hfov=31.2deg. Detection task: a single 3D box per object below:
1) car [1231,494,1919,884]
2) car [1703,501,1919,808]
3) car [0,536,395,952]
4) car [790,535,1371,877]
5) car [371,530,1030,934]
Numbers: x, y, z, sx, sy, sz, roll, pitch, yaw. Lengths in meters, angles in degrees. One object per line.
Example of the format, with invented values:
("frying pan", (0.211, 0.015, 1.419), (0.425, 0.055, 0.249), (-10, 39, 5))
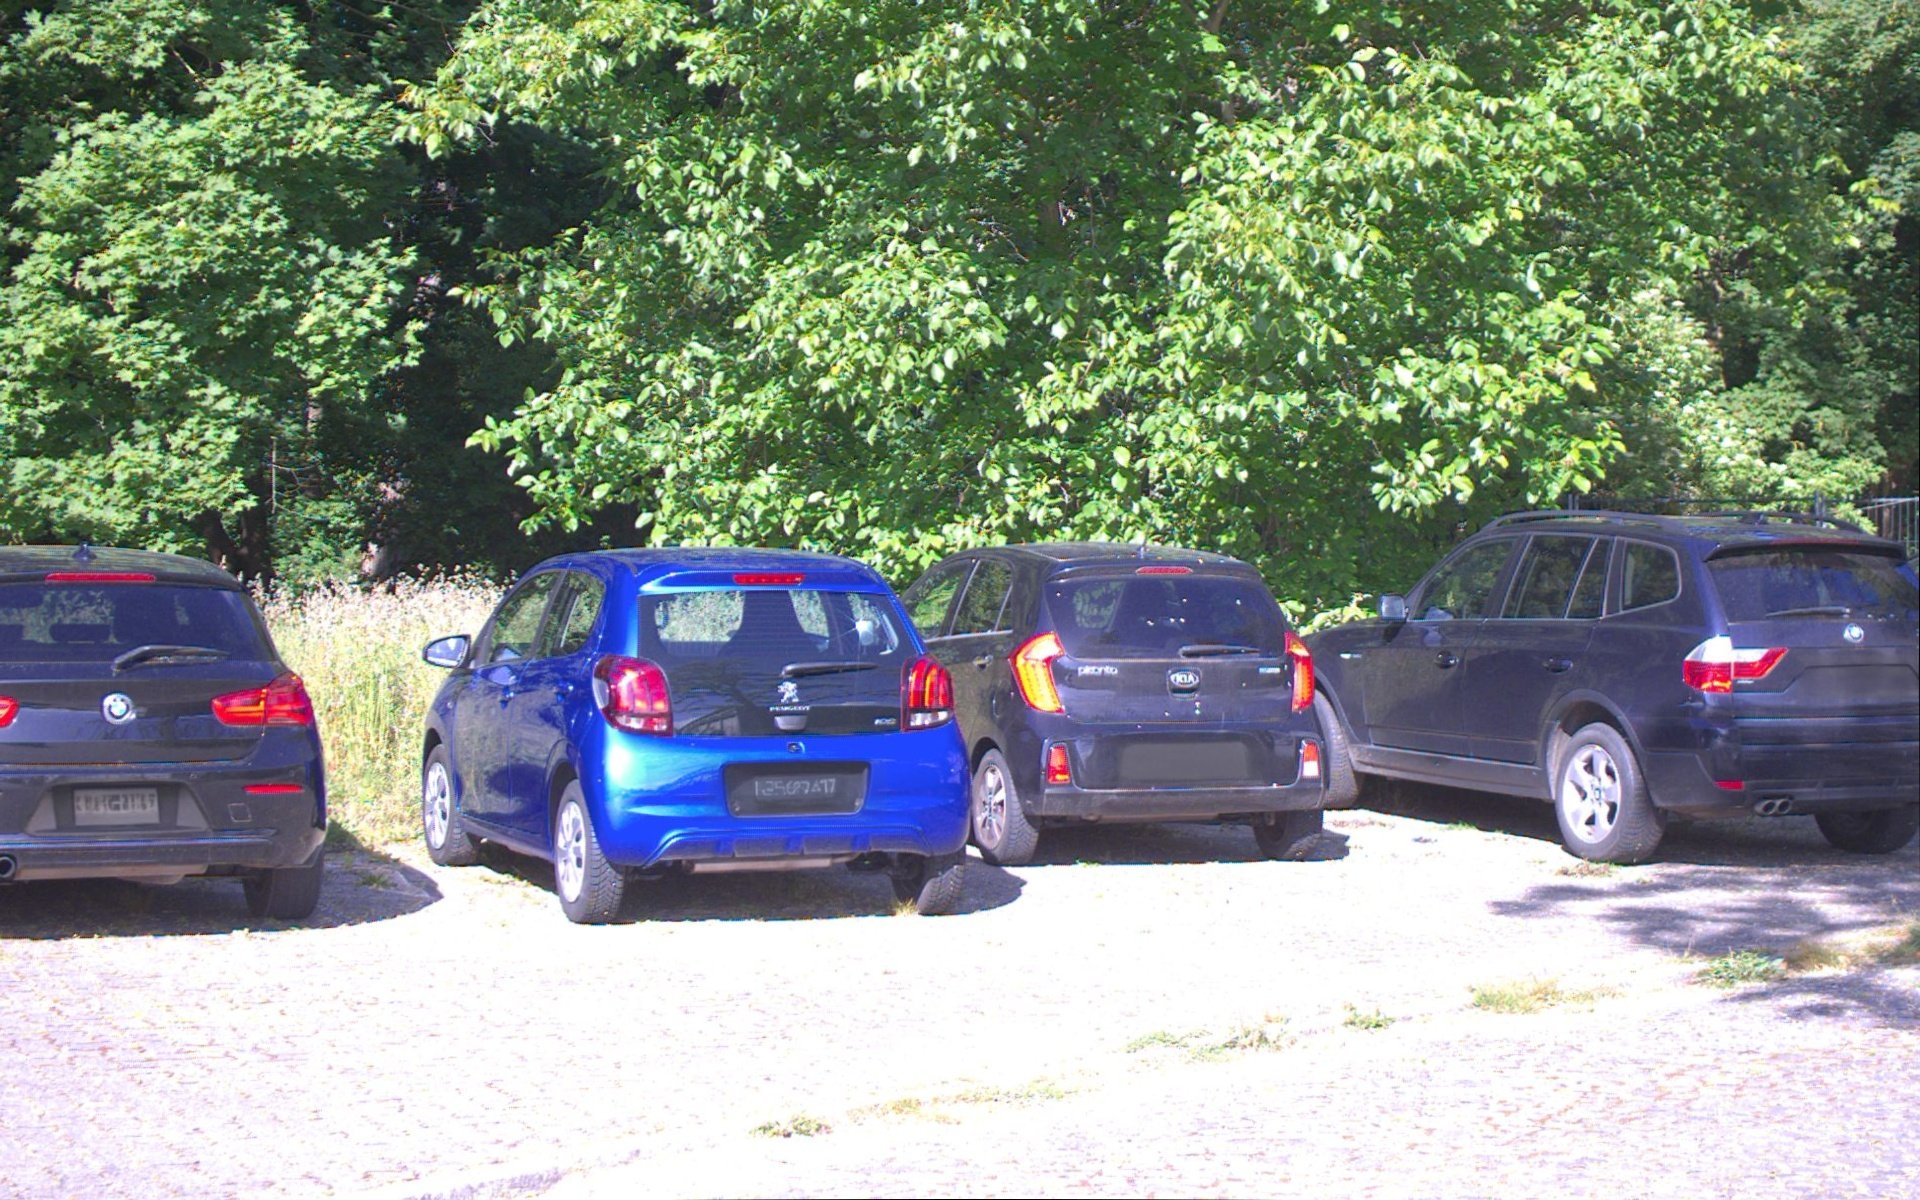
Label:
("car", (3.280, 0.344, 17.697), (1.874, 1.625, 4.275), (0, 3, -25))
("car", (6.201, 0.350, 18.819), (1.823, 1.583, 4.275), (-1, 5, -27))
("car", (-3.668, 0.471, 13.889), (1.888, 1.406, 3.791), (0, 2, -23))
("car", (0.472, 0.442, 17.151), (1.738, 1.446, 3.726), (1, 2, -17))
("car", (-1.267, 0.466, 14.964), (1.779, 1.453, 3.791), (0, 2, -22))
